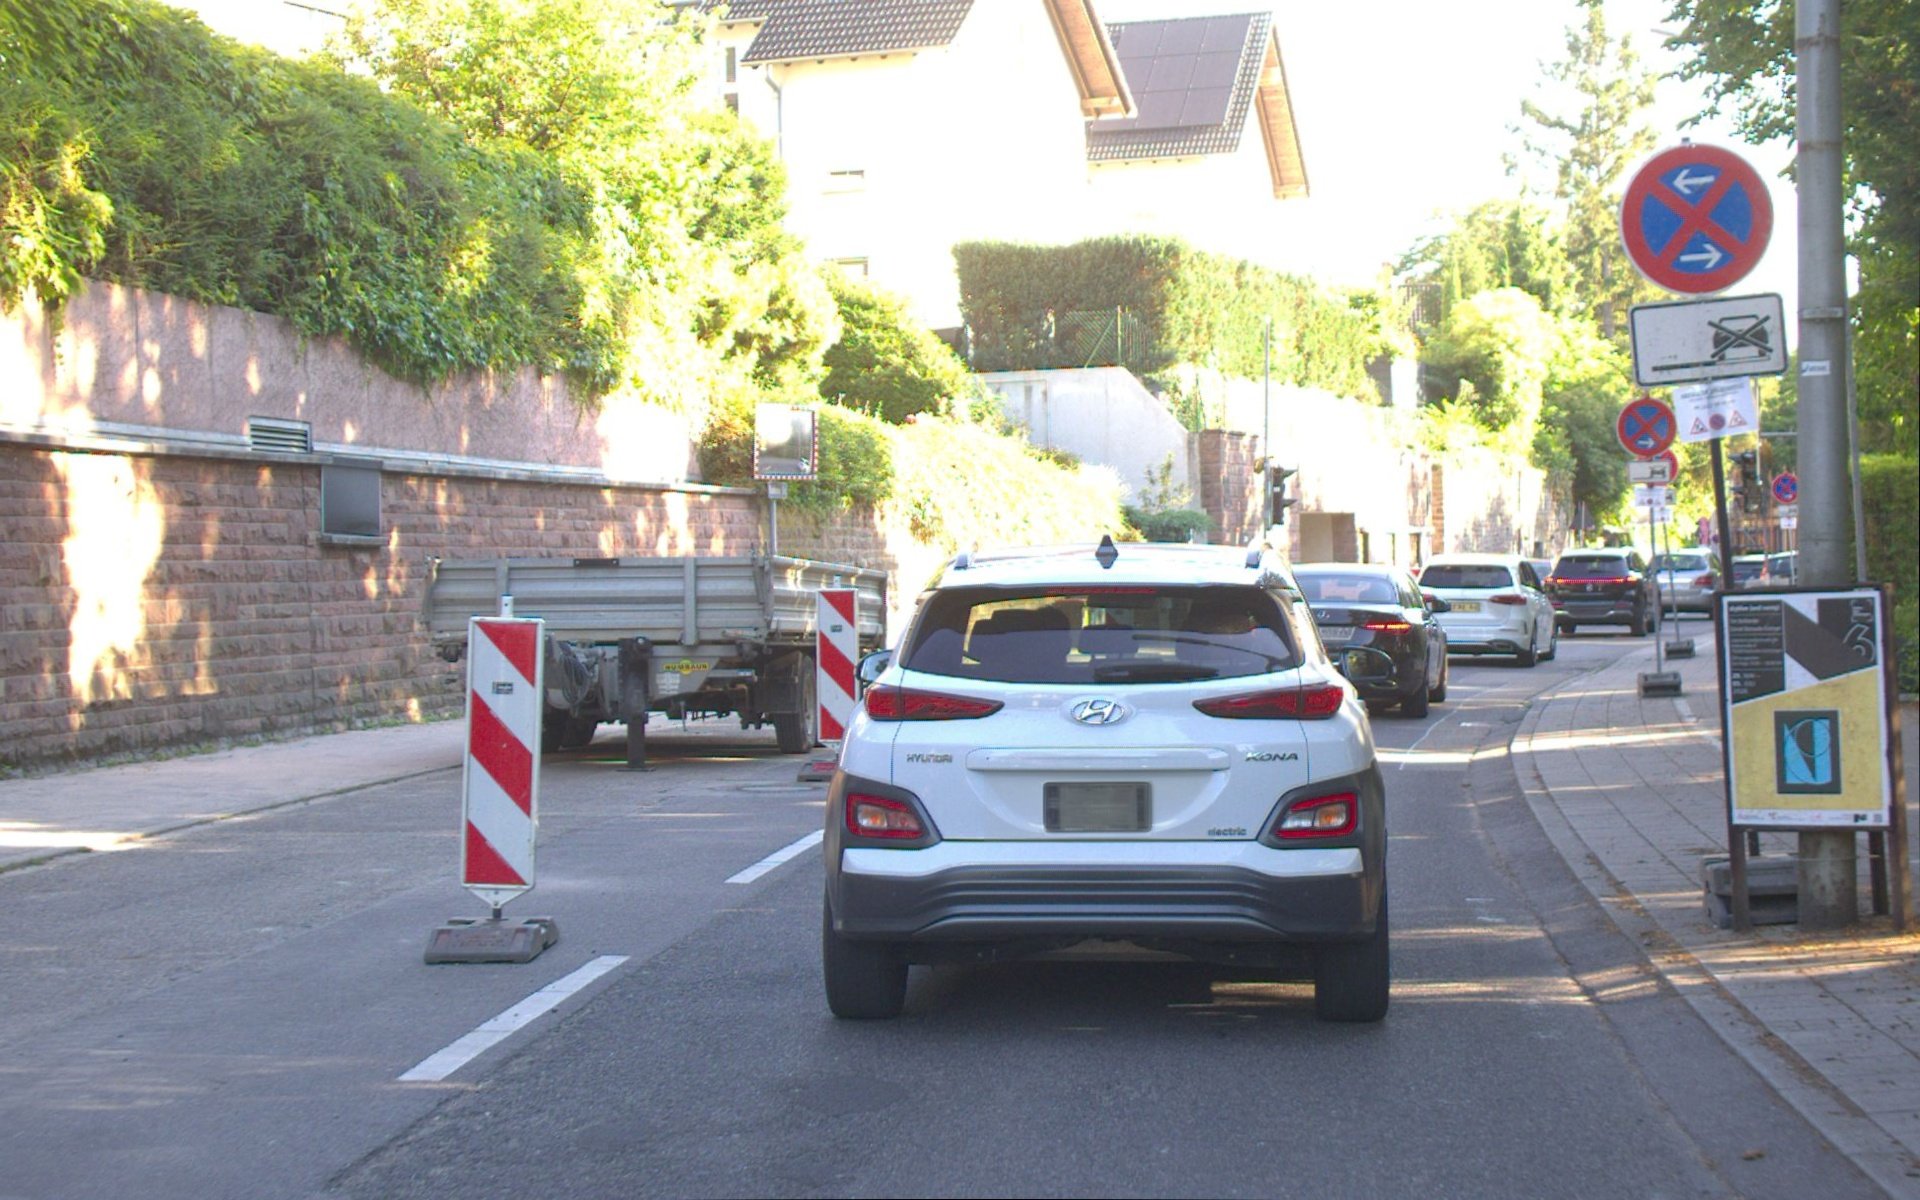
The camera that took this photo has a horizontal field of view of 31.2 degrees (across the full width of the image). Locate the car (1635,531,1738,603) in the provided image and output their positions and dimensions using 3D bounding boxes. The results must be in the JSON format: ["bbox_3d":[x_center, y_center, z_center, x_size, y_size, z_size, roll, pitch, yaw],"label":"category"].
[{"bbox_3d":[16.394,-0.759,77.449,1.695,1.442,3.878,-4,1,19],"label":"car"}]

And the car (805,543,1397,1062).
[{"bbox_3d":[0.619,0.580,12.345,1.772,1.537,3.999,1,1,6],"label":"car"}]

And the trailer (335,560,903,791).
[{"bbox_3d":[-2.307,0.453,26.004,2.641,1.484,7.116,0,1,8],"label":"trailer"}]

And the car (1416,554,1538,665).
[{"bbox_3d":[7.189,0.103,47.638,1.571,1.472,3.546,0,1,10],"label":"car"}]

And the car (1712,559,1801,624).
[{"bbox_3d":[20.912,-0.236,90.179,1.695,1.499,3.627,-4,1,21],"label":"car"}]

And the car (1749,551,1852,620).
[{"bbox_3d":[18.485,-0.326,75.530,1.796,1.436,3.996,-1,0,19],"label":"car"}]

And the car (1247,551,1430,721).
[{"bbox_3d":[3.720,0.313,33.361,1.512,1.528,3.546,-1,1,10],"label":"car"}]

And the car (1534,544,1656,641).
[{"bbox_3d":[11.572,-0.161,62.514,1.695,1.528,3.879,-4,0,16],"label":"car"}]
